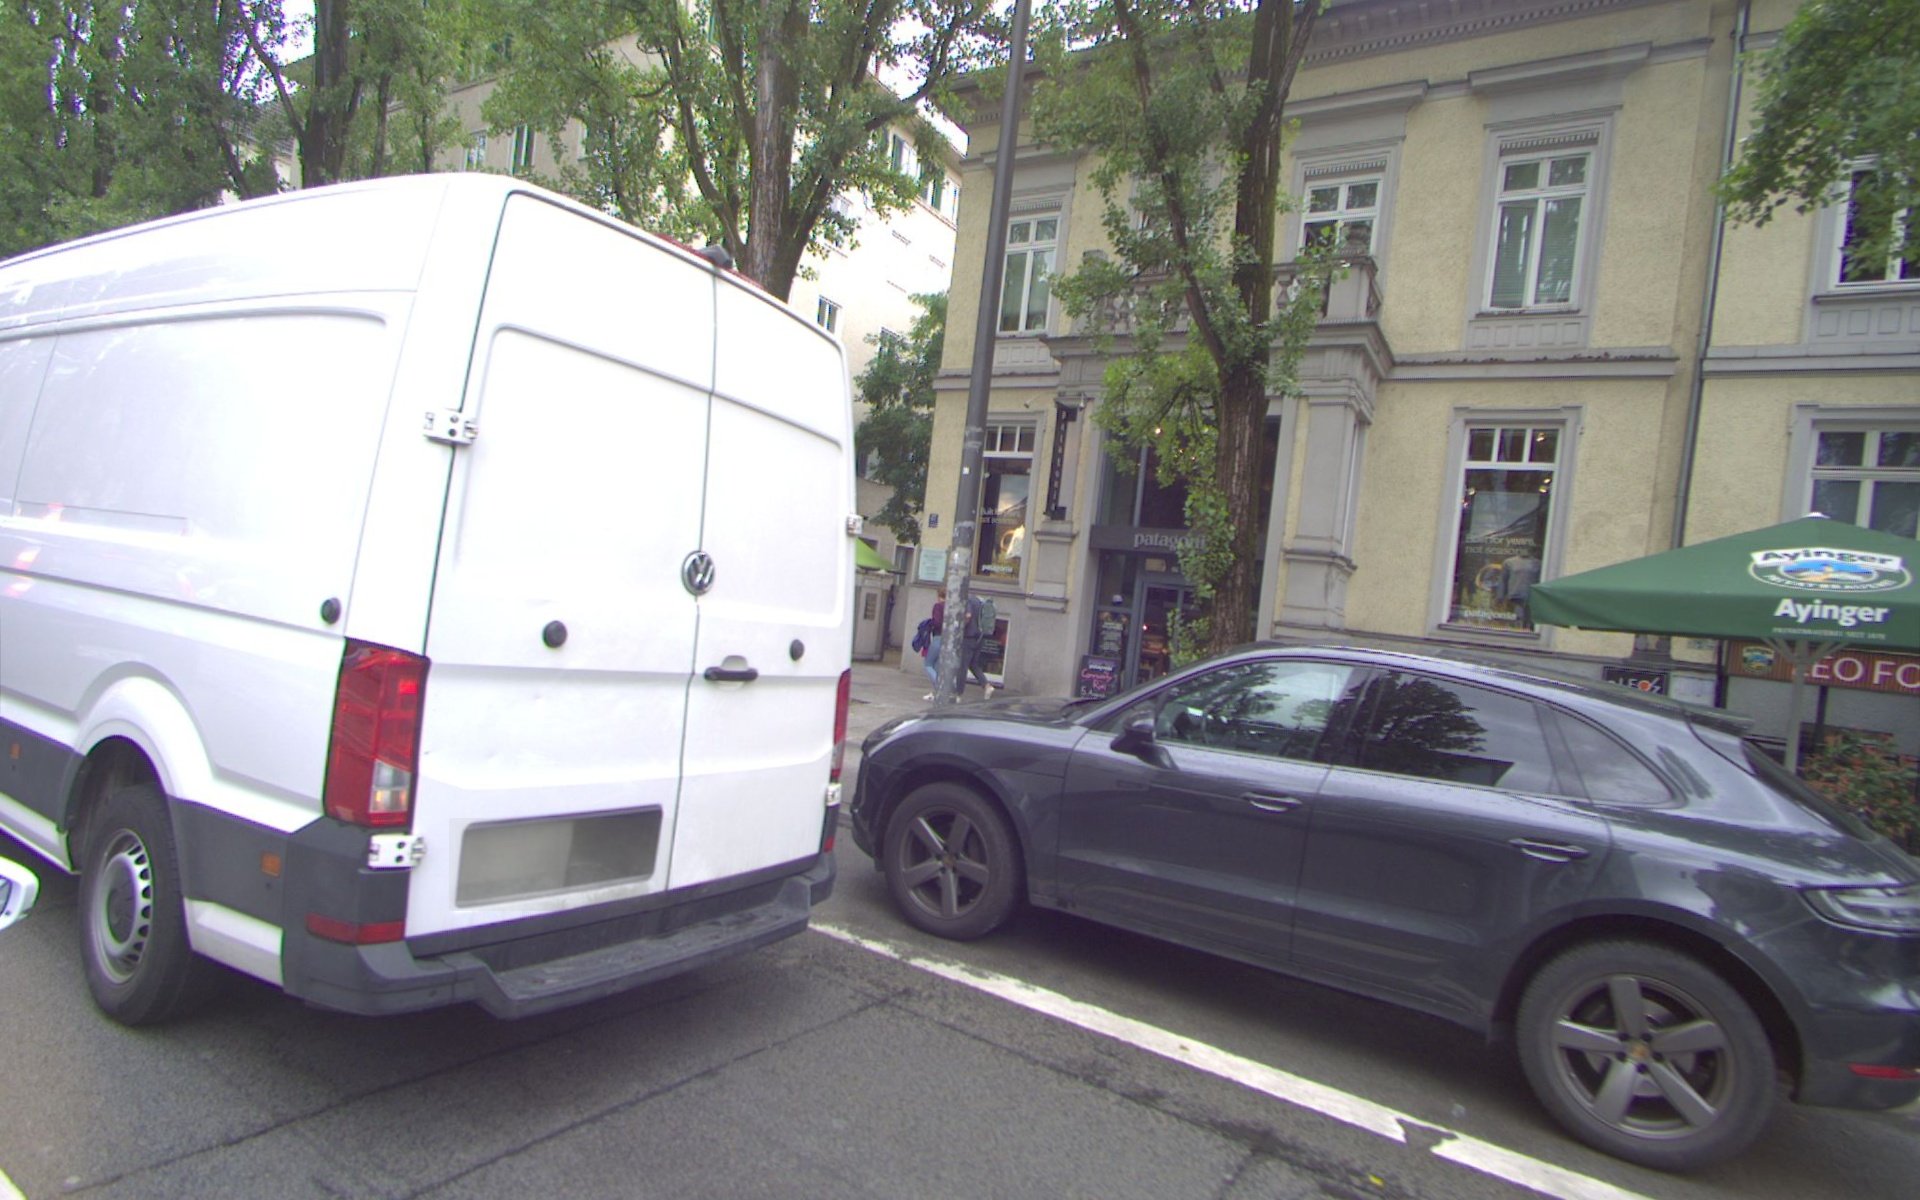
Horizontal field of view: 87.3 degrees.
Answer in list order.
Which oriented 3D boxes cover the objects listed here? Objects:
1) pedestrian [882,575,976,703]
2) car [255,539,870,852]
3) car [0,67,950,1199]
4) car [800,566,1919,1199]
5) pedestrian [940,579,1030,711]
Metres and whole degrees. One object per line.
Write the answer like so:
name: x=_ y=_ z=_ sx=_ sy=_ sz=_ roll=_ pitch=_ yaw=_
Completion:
pedestrian: x=-0.443 y=0.560 z=14.376 sx=0.862 sy=1.698 sz=0.798 roll=7 pitch=1 yaw=32
car: x=-2.981 y=0.538 z=7.360 sx=4.268 sy=1.410 sz=1.714 roll=7 pitch=-1 yaw=28
car: x=-3.506 y=-0.142 z=4.805 sx=6.619 sy=2.523 sz=2.066 roll=7 pitch=0 yaw=32
car: x=1.605 y=0.950 z=4.769 sx=4.372 sy=1.657 sz=1.807 roll=7 pitch=-1 yaw=30
pedestrian: x=0.369 y=0.665 z=14.863 sx=0.862 sy=1.818 sz=0.772 roll=7 pitch=1 yaw=32
